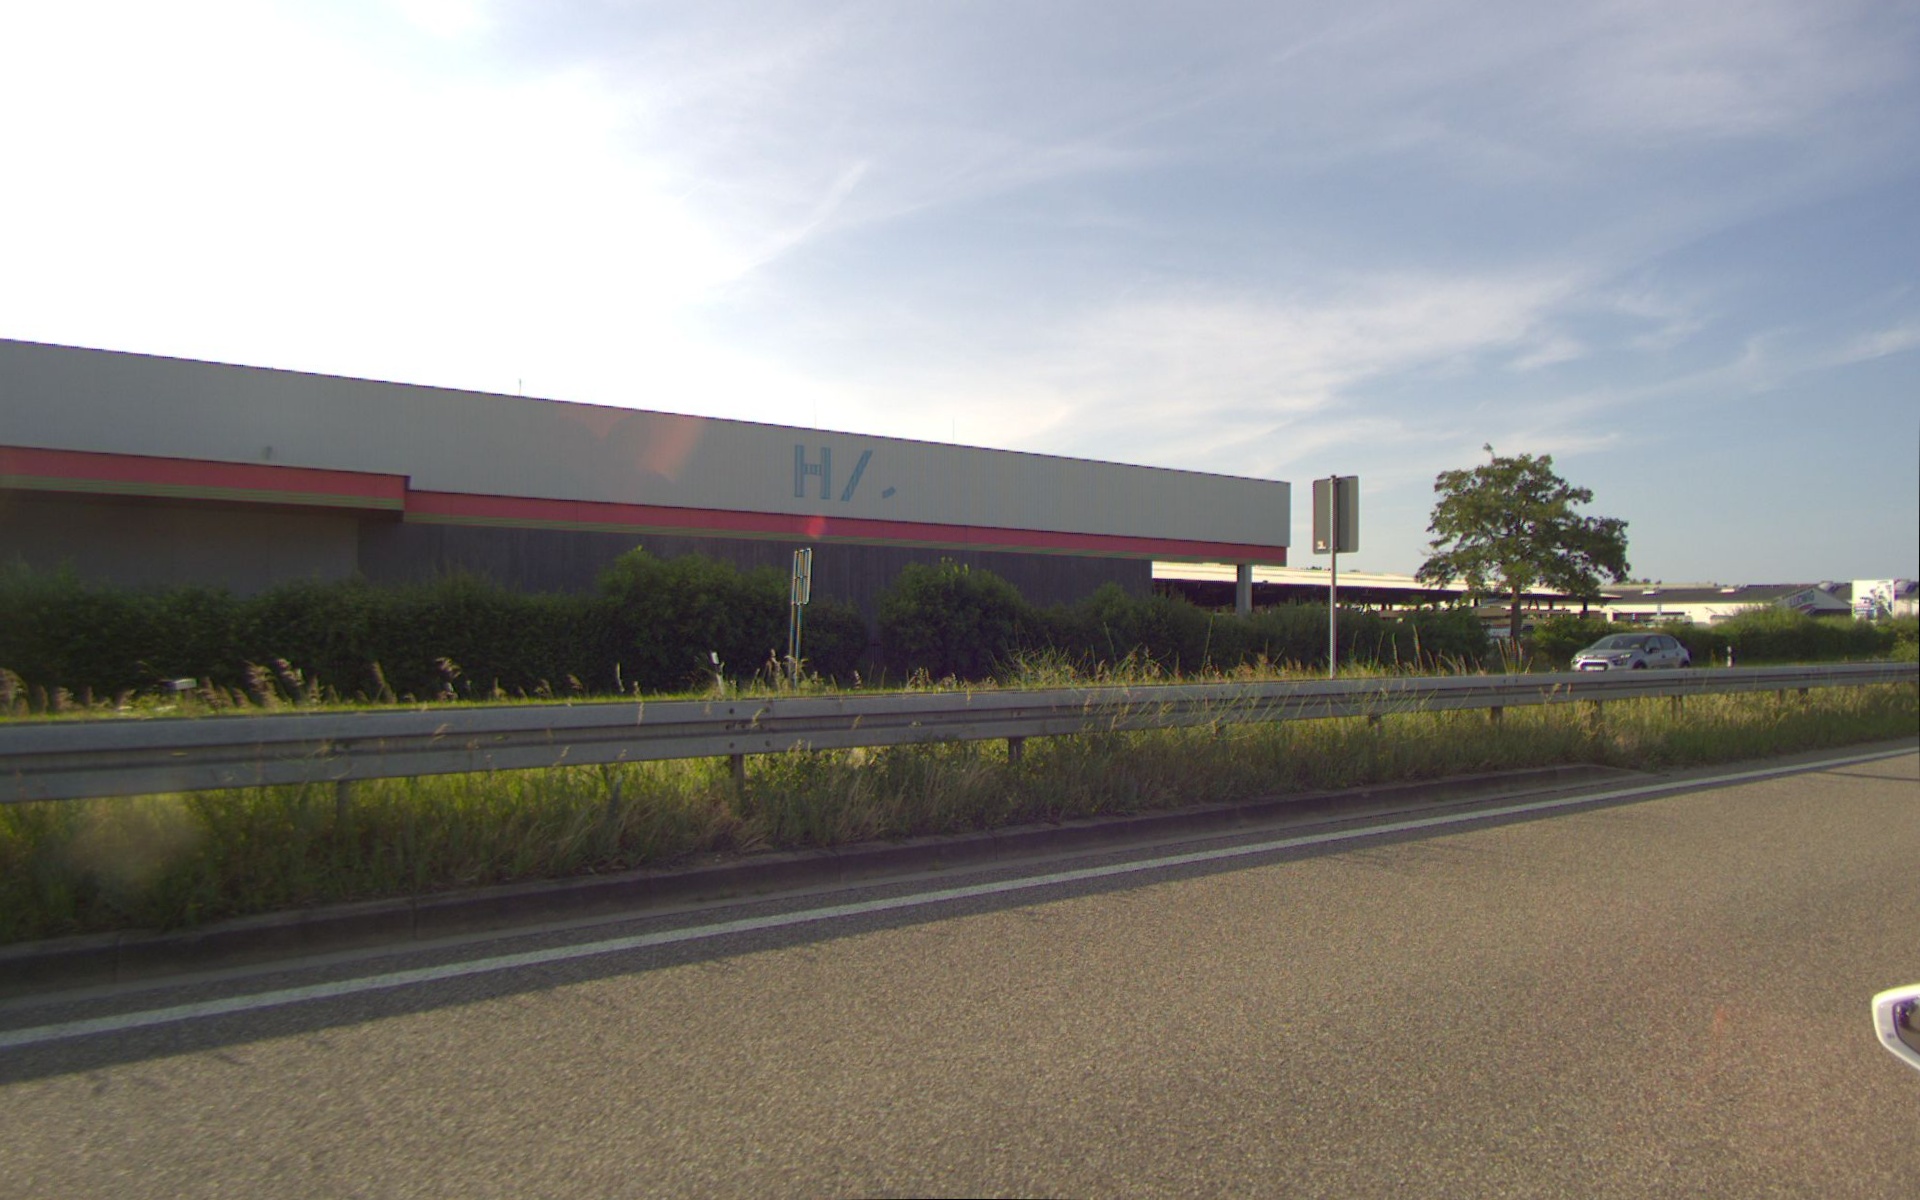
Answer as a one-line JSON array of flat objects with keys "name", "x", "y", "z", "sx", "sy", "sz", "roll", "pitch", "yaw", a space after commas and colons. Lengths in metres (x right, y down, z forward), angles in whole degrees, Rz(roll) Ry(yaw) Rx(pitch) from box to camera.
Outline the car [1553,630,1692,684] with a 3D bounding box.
[{"name": "car", "x": 19.024, "y": 1.608, "z": 28.812, "sx": 3.953, "sy": 1.443, "sz": 1.771, "roll": 2, "pitch": -2, "yaw": -30}]
